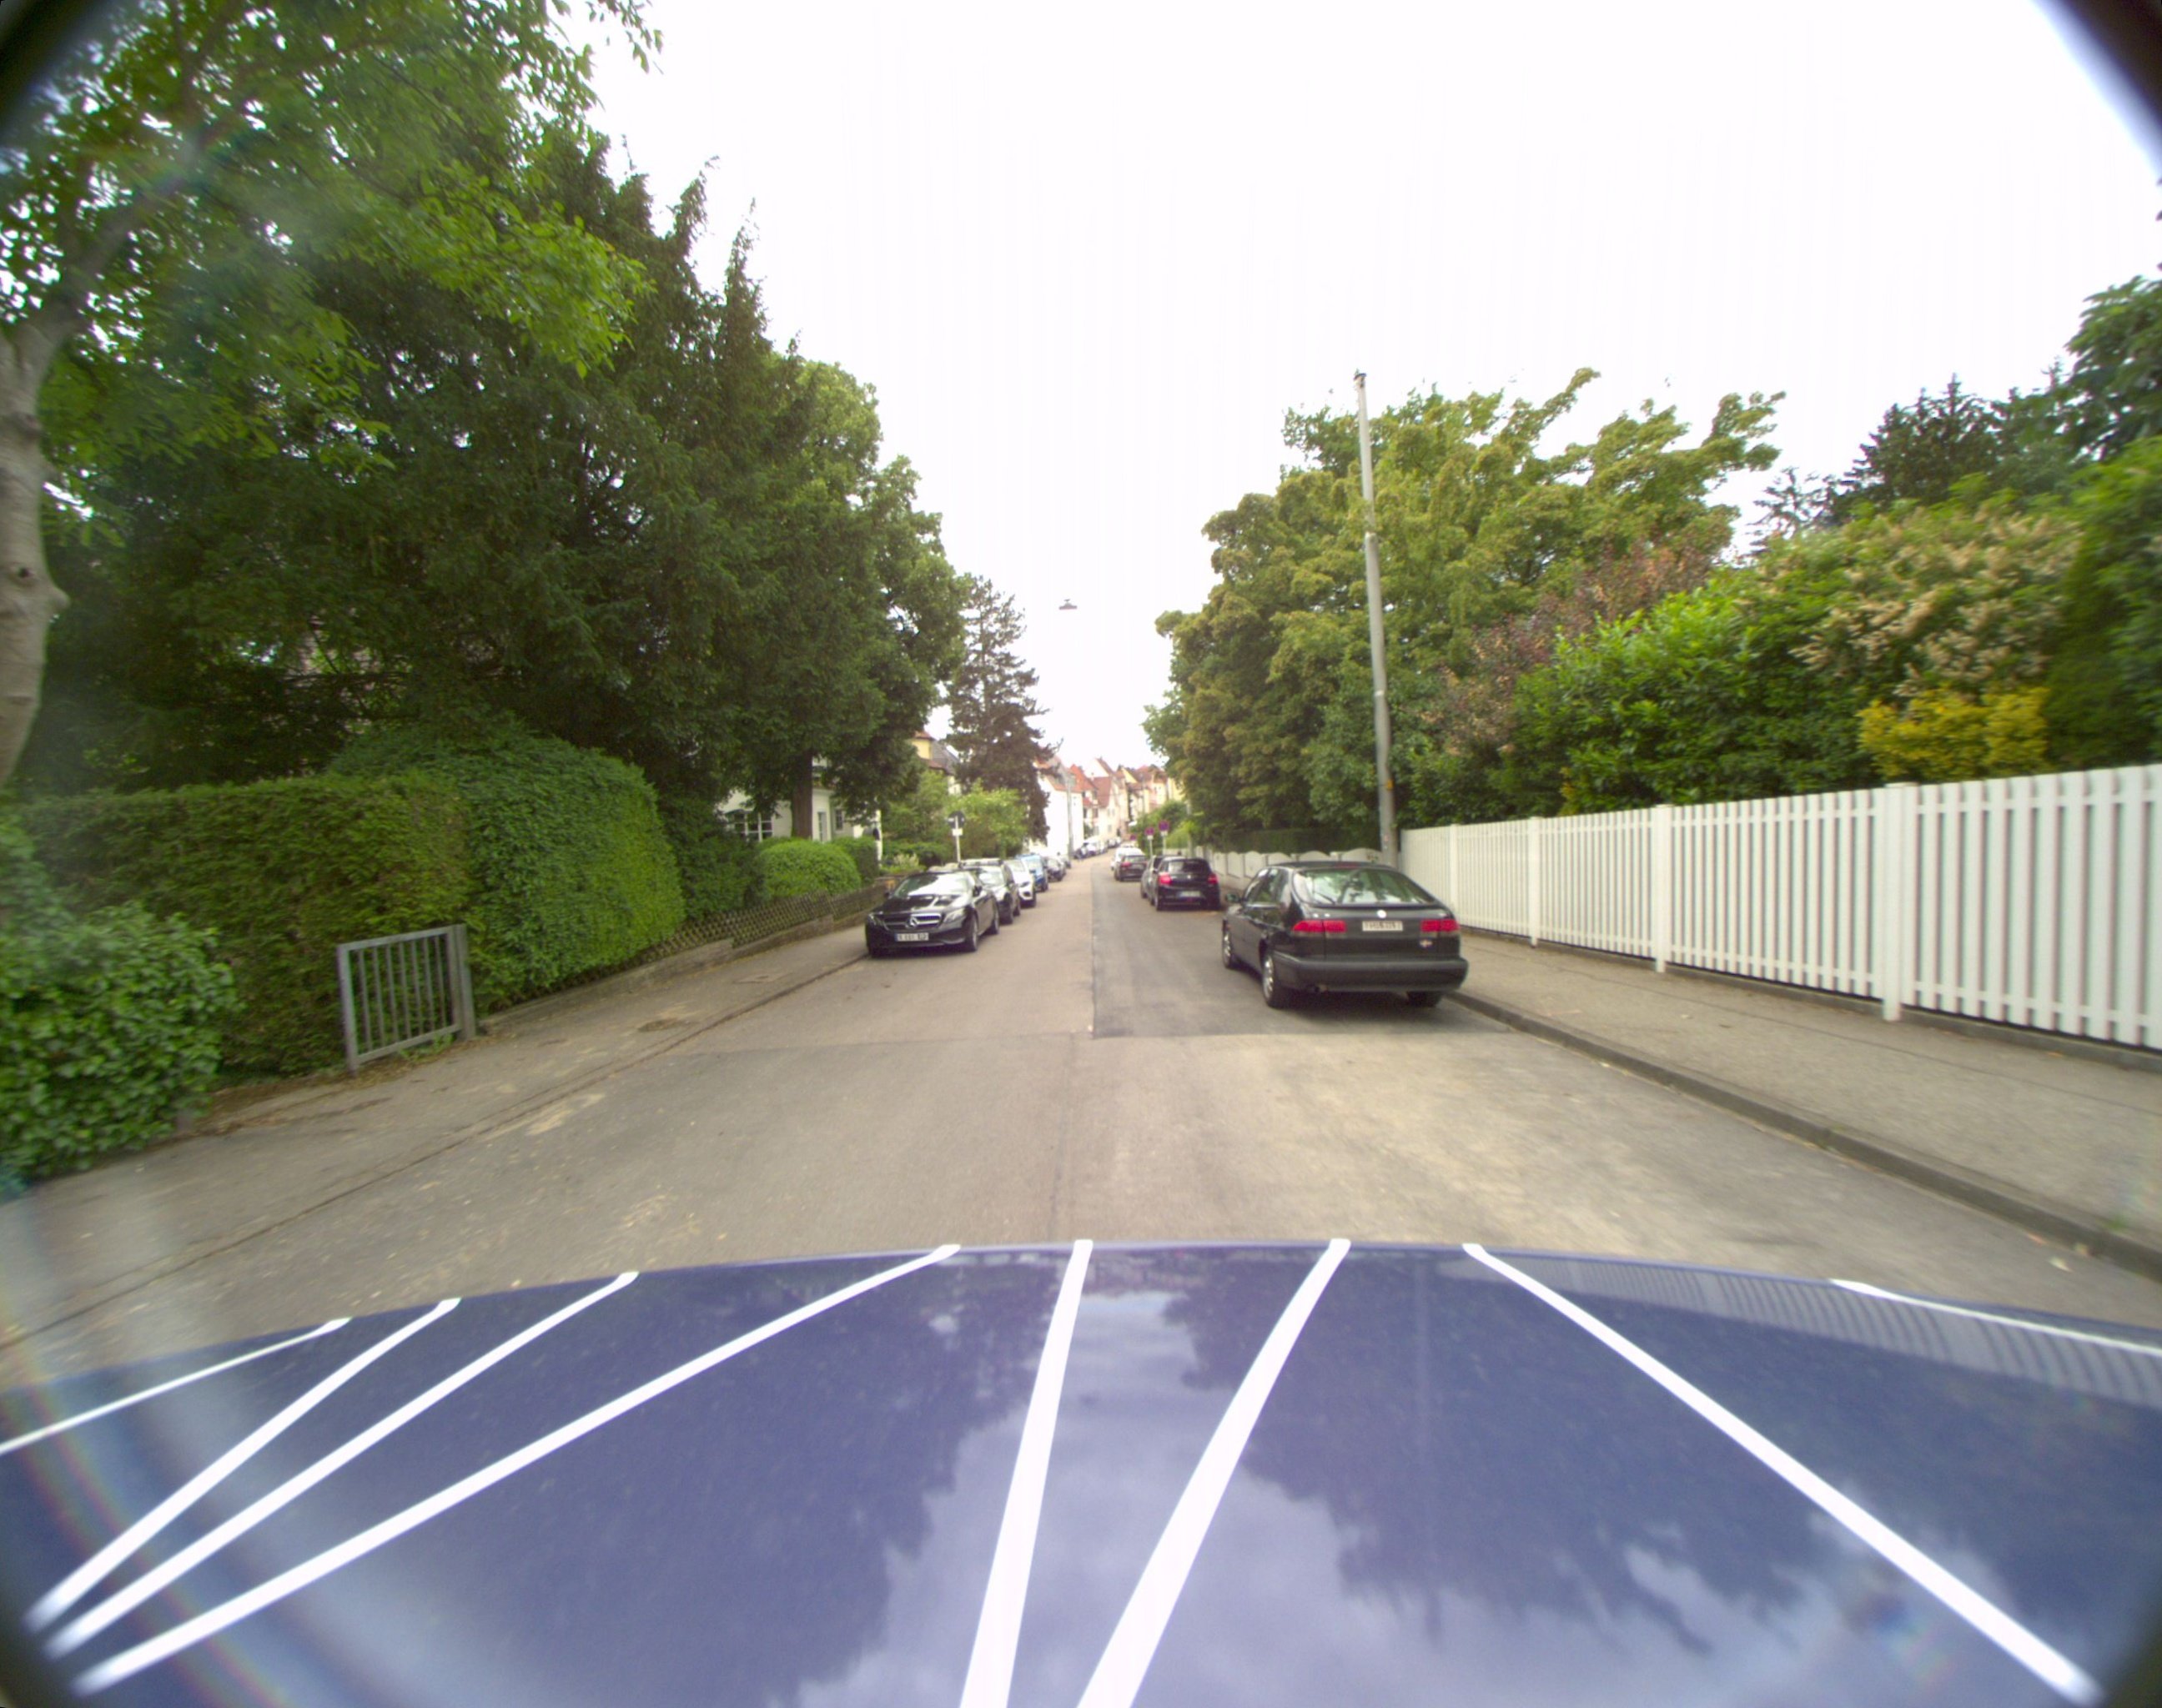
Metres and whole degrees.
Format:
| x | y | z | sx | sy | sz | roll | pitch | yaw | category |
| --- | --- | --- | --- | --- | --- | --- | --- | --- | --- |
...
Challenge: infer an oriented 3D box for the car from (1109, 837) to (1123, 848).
| x | y | z | sx | sy | sz | roll | pitch | yaw | category |
| --- | --- | --- | --- | --- | --- | --- | --- | --- | --- |
| 5.825 | -1.930 | 127.300 | 1.607 | 1.482 | 4.023 | -3 | 4 | 12 | car |

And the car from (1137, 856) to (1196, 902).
| x | y | z | sx | sy | sz | roll | pitch | yaw | category |
| --- | --- | --- | --- | --- | --- | --- | --- | --- | --- |
| 2.946 | 0.834 | 26.643 | 1.626 | 1.524 | 2.962 | 0 | 0 | -2 | car |

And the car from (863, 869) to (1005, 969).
| x | y | z | sx | sy | sz | roll | pitch | yaw | category |
| --- | --- | --- | --- | --- | --- | --- | --- | --- | --- |
| -2.625 | 1.099 | 14.681 | 1.656 | 1.415 | 4.661 | -4 | 0 | 1 | car |

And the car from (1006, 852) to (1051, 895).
| x | y | z | sx | sy | sz | roll | pitch | yaw | category |
| --- | --- | --- | --- | --- | --- | --- | --- | --- | --- |
| -2.441 | 0.892 | 36.301 | 1.687 | 1.818 | 4.157 | -5 | 0 | 0 | car |

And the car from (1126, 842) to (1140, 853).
| x | y | z | sx | sy | sz | roll | pitch | yaw | category |
| --- | --- | --- | --- | --- | --- | --- | --- | --- | --- |
| 7.565 | -0.927 | 110.109 | 1.609 | 1.445 | 3.615 | 1 | 4 | 12 | car |

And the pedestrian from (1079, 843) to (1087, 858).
| x | y | z | sx | sy | sz | roll | pitch | yaw | category |
| --- | --- | --- | --- | --- | --- | --- | --- | --- | --- |
| 0.211 | -0.477 | 94.759 | 0.822 | 1.750 | 0.644 | -4 | 2 | 1 | pedestrian |

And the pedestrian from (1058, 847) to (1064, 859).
| x | y | z | sx | sy | sz | roll | pitch | yaw | category |
| --- | --- | --- | --- | --- | --- | --- | --- | --- | --- |
| -2.581 | -0.108 | 97.477 | 0.682 | 1.568 | 0.906 | 0 | 3 | 7 | pedestrian |

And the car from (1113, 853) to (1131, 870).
| x | y | z | sx | sy | sz | roll | pitch | yaw | category |
| --- | --- | --- | --- | --- | --- | --- | --- | --- | --- |
| 3.815 | 0.681 | 70.157 | 1.445 | 1.543 | 2.771 | 1 | 1 | 8 | car |

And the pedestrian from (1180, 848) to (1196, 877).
| x | y | z | sx | sy | sz | roll | pitch | yaw | category |
| --- | --- | --- | --- | --- | --- | --- | --- | --- | --- |
| 5.882 | 0.455 | 41.748 | 0.610 | 1.537 | 0.797 | -7 | 1 | 0 | pedestrian |

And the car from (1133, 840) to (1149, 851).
| x | y | z | sx | sy | sz | roll | pitch | yaw | category |
| --- | --- | --- | --- | --- | --- | --- | --- | --- | --- |
| 9.396 | -1.326 | 118.893 | 1.805 | 1.472 | 4.329 | -1 | 4 | 12 | car |

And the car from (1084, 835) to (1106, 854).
| x | y | z | sx | sy | sz | roll | pitch | yaw | category |
| --- | --- | --- | --- | --- | --- | --- | --- | --- | --- |
| 2.117 | -1.397 | 110.592 | 1.996 | 2.410 | 5.294 | -1 | 4 | 13 | car |

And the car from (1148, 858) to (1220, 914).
| x | y | z | sx | sy | sz | roll | pitch | yaw | category |
| --- | --- | --- | --- | --- | --- | --- | --- | --- | --- |
| 2.905 | 0.857 | 22.041 | 1.659 | 1.472 | 3.888 | 0 | 0 | 2 | car |

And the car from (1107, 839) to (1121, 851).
| x | y | z | sx | sy | sz | roll | pitch | yaw | category |
| --- | --- | --- | --- | --- | --- | --- | --- | --- | --- |
| 5.531 | -1.513 | 127.355 | 1.779 | 1.711 | 4.001 | -3 | 2 | 10 | car |

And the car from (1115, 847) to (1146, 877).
| x | y | z | sx | sy | sz | roll | pitch | yaw | category |
| --- | --- | --- | --- | --- | --- | --- | --- | --- | --- |
| 3.259 | 0.497 | 50.978 | 1.859 | 1.902 | 4.619 | 0 | 1 | 1 | car |

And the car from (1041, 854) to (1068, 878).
| x | y | z | sx | sy | sz | roll | pitch | yaw | category |
| --- | --- | --- | --- | --- | --- | --- | --- | --- | --- |
| -2.007 | 0.854 | 57.640 | 1.789 | 1.594 | 4.304 | -5 | 1 | 0 | car |

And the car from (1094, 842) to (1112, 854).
| x | y | z | sx | sy | sz | roll | pitch | yaw | category |
| --- | --- | --- | --- | --- | --- | --- | --- | --- | --- |
| 3.340 | -0.998 | 116.272 | 1.827 | 1.437 | 4.384 | -3 | 4 | 13 | car |

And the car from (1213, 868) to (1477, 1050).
| x | y | z | sx | sy | sz | roll | pitch | yaw | category |
| --- | --- | --- | --- | --- | --- | --- | --- | --- | --- |
| 2.603 | 0.922 | 8.649 | 1.644 | 1.414 | 4.550 | 0 | 0 | 3 | car |

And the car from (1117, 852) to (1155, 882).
| x | y | z | sx | sy | sz | roll | pitch | yaw | category |
| --- | --- | --- | --- | --- | --- | --- | --- | --- | --- |
| 3.151 | 0.713 | 44.592 | 1.795 | 1.614 | 4.342 | -1 | 0 | -1 | car |

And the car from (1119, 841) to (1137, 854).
| x | y | z | sx | sy | sz | roll | pitch | yaw | category |
| --- | --- | --- | --- | --- | --- | --- | --- | --- | --- |
| 6.552 | -0.920 | 105.521 | 1.807 | 1.650 | 4.153 | 1 | 3 | 12 | car |

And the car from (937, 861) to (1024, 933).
| x | y | z | sx | sy | sz | roll | pitch | yaw | category |
| --- | --- | --- | --- | --- | --- | --- | --- | --- | --- |
| -2.499 | 1.016 | 19.872 | 1.702 | 1.561 | 4.308 | -2 | 0 | -1 | car |

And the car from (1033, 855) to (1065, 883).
| x | y | z | sx | sy | sz | roll | pitch | yaw | category |
| --- | --- | --- | --- | --- | --- | --- | --- | --- | --- |
| -2.087 | 0.953 | 50.581 | 1.754 | 1.599 | 4.075 | -5 | 1 | 1 | car |

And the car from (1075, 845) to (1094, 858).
| x | y | z | sx | sy | sz | roll | pitch | yaw | category |
| --- | --- | --- | --- | --- | --- | --- | --- | --- | --- |
| 0.475 | -0.370 | 103.681 | 1.821 | 1.478 | 4.288 | -2 | 3 | 11 | car |

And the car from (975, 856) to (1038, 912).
| x | y | z | sx | sy | sz | roll | pitch | yaw | category |
| --- | --- | --- | --- | --- | --- | --- | --- | --- | --- |
| -2.409 | 0.931 | 25.589 | 1.762 | 1.596 | 4.574 | -4 | 0 | -3 | car |

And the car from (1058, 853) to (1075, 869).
| x | y | z | sx | sy | sz | roll | pitch | yaw | category |
| --- | --- | --- | --- | --- | --- | --- | --- | --- | --- |
| -1.562 | 0.733 | 80.714 | 1.576 | 1.523 | 2.867 | -5 | 1 | -1 | car |
